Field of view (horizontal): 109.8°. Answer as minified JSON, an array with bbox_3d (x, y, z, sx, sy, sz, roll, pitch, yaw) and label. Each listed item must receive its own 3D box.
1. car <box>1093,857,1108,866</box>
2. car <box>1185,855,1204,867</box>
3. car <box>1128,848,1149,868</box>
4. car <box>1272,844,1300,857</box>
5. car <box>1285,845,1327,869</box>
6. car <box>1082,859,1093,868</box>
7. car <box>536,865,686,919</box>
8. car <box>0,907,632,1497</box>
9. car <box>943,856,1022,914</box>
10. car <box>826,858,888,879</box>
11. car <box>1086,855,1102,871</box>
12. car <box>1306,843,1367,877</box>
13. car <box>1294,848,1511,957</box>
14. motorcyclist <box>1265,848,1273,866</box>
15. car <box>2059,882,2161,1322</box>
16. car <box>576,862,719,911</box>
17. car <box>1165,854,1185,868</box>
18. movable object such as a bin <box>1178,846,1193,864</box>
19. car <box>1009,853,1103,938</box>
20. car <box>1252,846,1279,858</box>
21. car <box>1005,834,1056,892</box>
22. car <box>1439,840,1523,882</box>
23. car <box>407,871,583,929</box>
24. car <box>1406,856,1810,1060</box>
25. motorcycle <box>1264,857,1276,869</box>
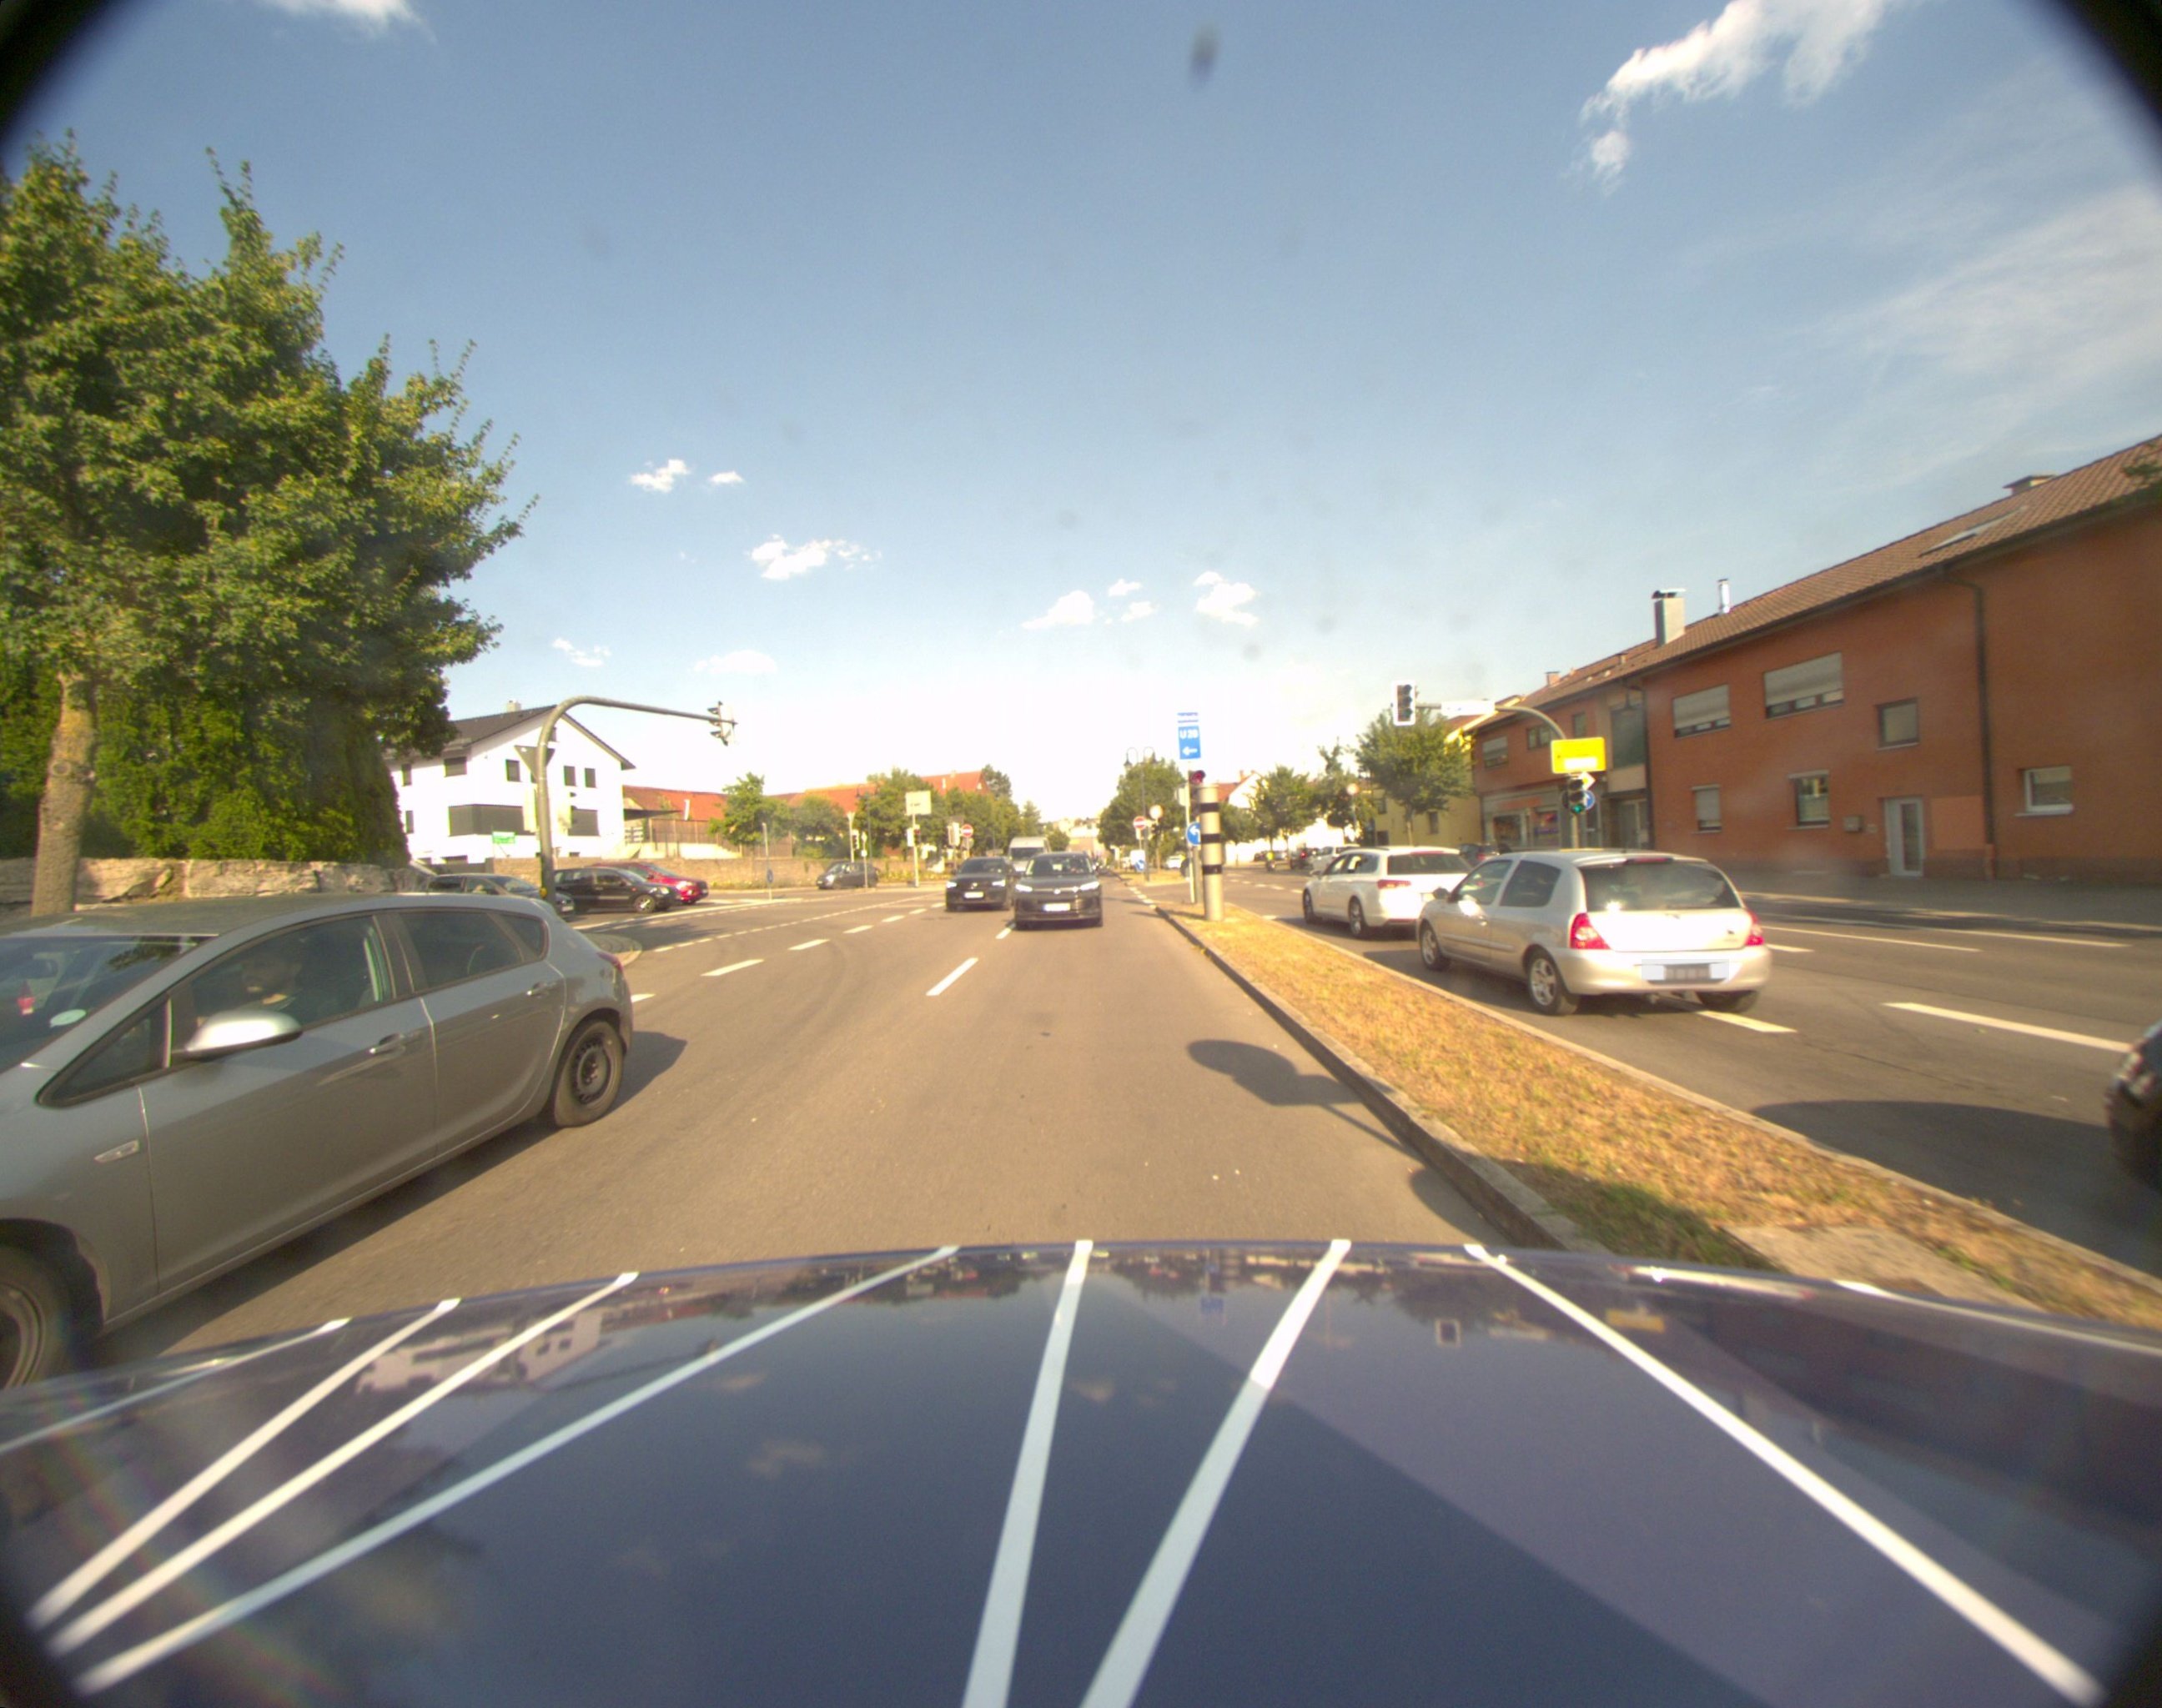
[{"bbox_3d":[3.527,1.407,136.661,1.780,1.516,3.844,-2,0,16],"label":"car"},{"bbox_3d":[14.048,0.808,94.413,1.761,1.403,4.000,-2,0,1],"label":"car"},{"bbox_3d":[7.740,0.551,102.770,2.090,2.461,5.478,-2,0,-1],"label":"car"},{"bbox_3d":[25.972,-0.455,96.251,3.438,1.534,1.617,-2,-1,-38],"label":"car"},{"bbox_3d":[16.253,0.192,55.100,1.859,1.586,4.461,-2,0,3],"label":"car"},{"bbox_3d":[1.050,1.594,127.185,1.530,1.353,2.793,-2,0,5],"label":"car"},{"bbox_3d":[-15.255,1.209,24.872,3.800,1.533,1.596,-2,0,-14],"label":"car"},{"bbox_3d":[-3.760,1.048,2.879,1.652,1.414,4.143,-1,0,0],"label":"car"},{"bbox_3d":[-2.948,0.901,23.648,1.792,1.596,4.057,-2,0,1],"label":"car"},{"bbox_3d":[-16.702,1.083,56.754,4.072,1.447,1.680,-2,0,14],"label":"car"},{"bbox_3d":[1.645,1.140,96.022,1.816,1.861,4.001,-2,0,3],"label":"car"},{"bbox_3d":[13.113,0.300,39.200,1.690,1.602,4.413,-2,0,1],"label":"car"},{"bbox_3d":[5.227,0.705,13.112,1.839,1.479,4.566,-2,0,1],"label":"car"},{"bbox_3d":[13.269,0.229,53.532,0.404,1.221,0.461,-2,0,-1],"label":"motorcyclist"},{"bbox_3d":[4.293,0.804,0.998,1.536,1.453,3.507,-2,0,2],"label":"car"},{"bbox_3d":[-16.317,1.183,28.787,4.251,1.616,1.861,-2,0,-5],"label":"car"},{"bbox_3d":[10.368,0.792,84.111,1.761,1.403,4.000,-2,0,1],"label":"car"},{"bbox_3d":[14.804,0.101,108.123,1.556,2.447,4.978,-1,0,2],"label":"movable object such as a bin"},{"bbox_3d":[-0.445,0.834,16.976,1.768,1.582,4.057,-3,0,1],"label":"car"},{"bbox_3d":[24.612,-0.299,101.307,3.417,1.616,1.857,0,0,-40],"label":"car"},{"bbox_3d":[-2.477,0.404,39.051,2.040,2.642,6.649,-2,0,1],"label":"car"},{"bbox_3d":[16.220,0.269,31.014,1.595,1.430,3.776,-7,-1,5],"label":"car"},{"bbox_3d":[-16.383,1.258,21.372,3.608,1.441,1.626,-1,1,-3],"label":"car"},{"bbox_3d":[4.661,0.785,7.412,1.593,1.419,3.579,-2,0,4],"label":"car"},{"bbox_3d":[13.292,0.631,53.466,0.413,0.855,1.763,-2,0,0],"label":"motorcycle"}]
